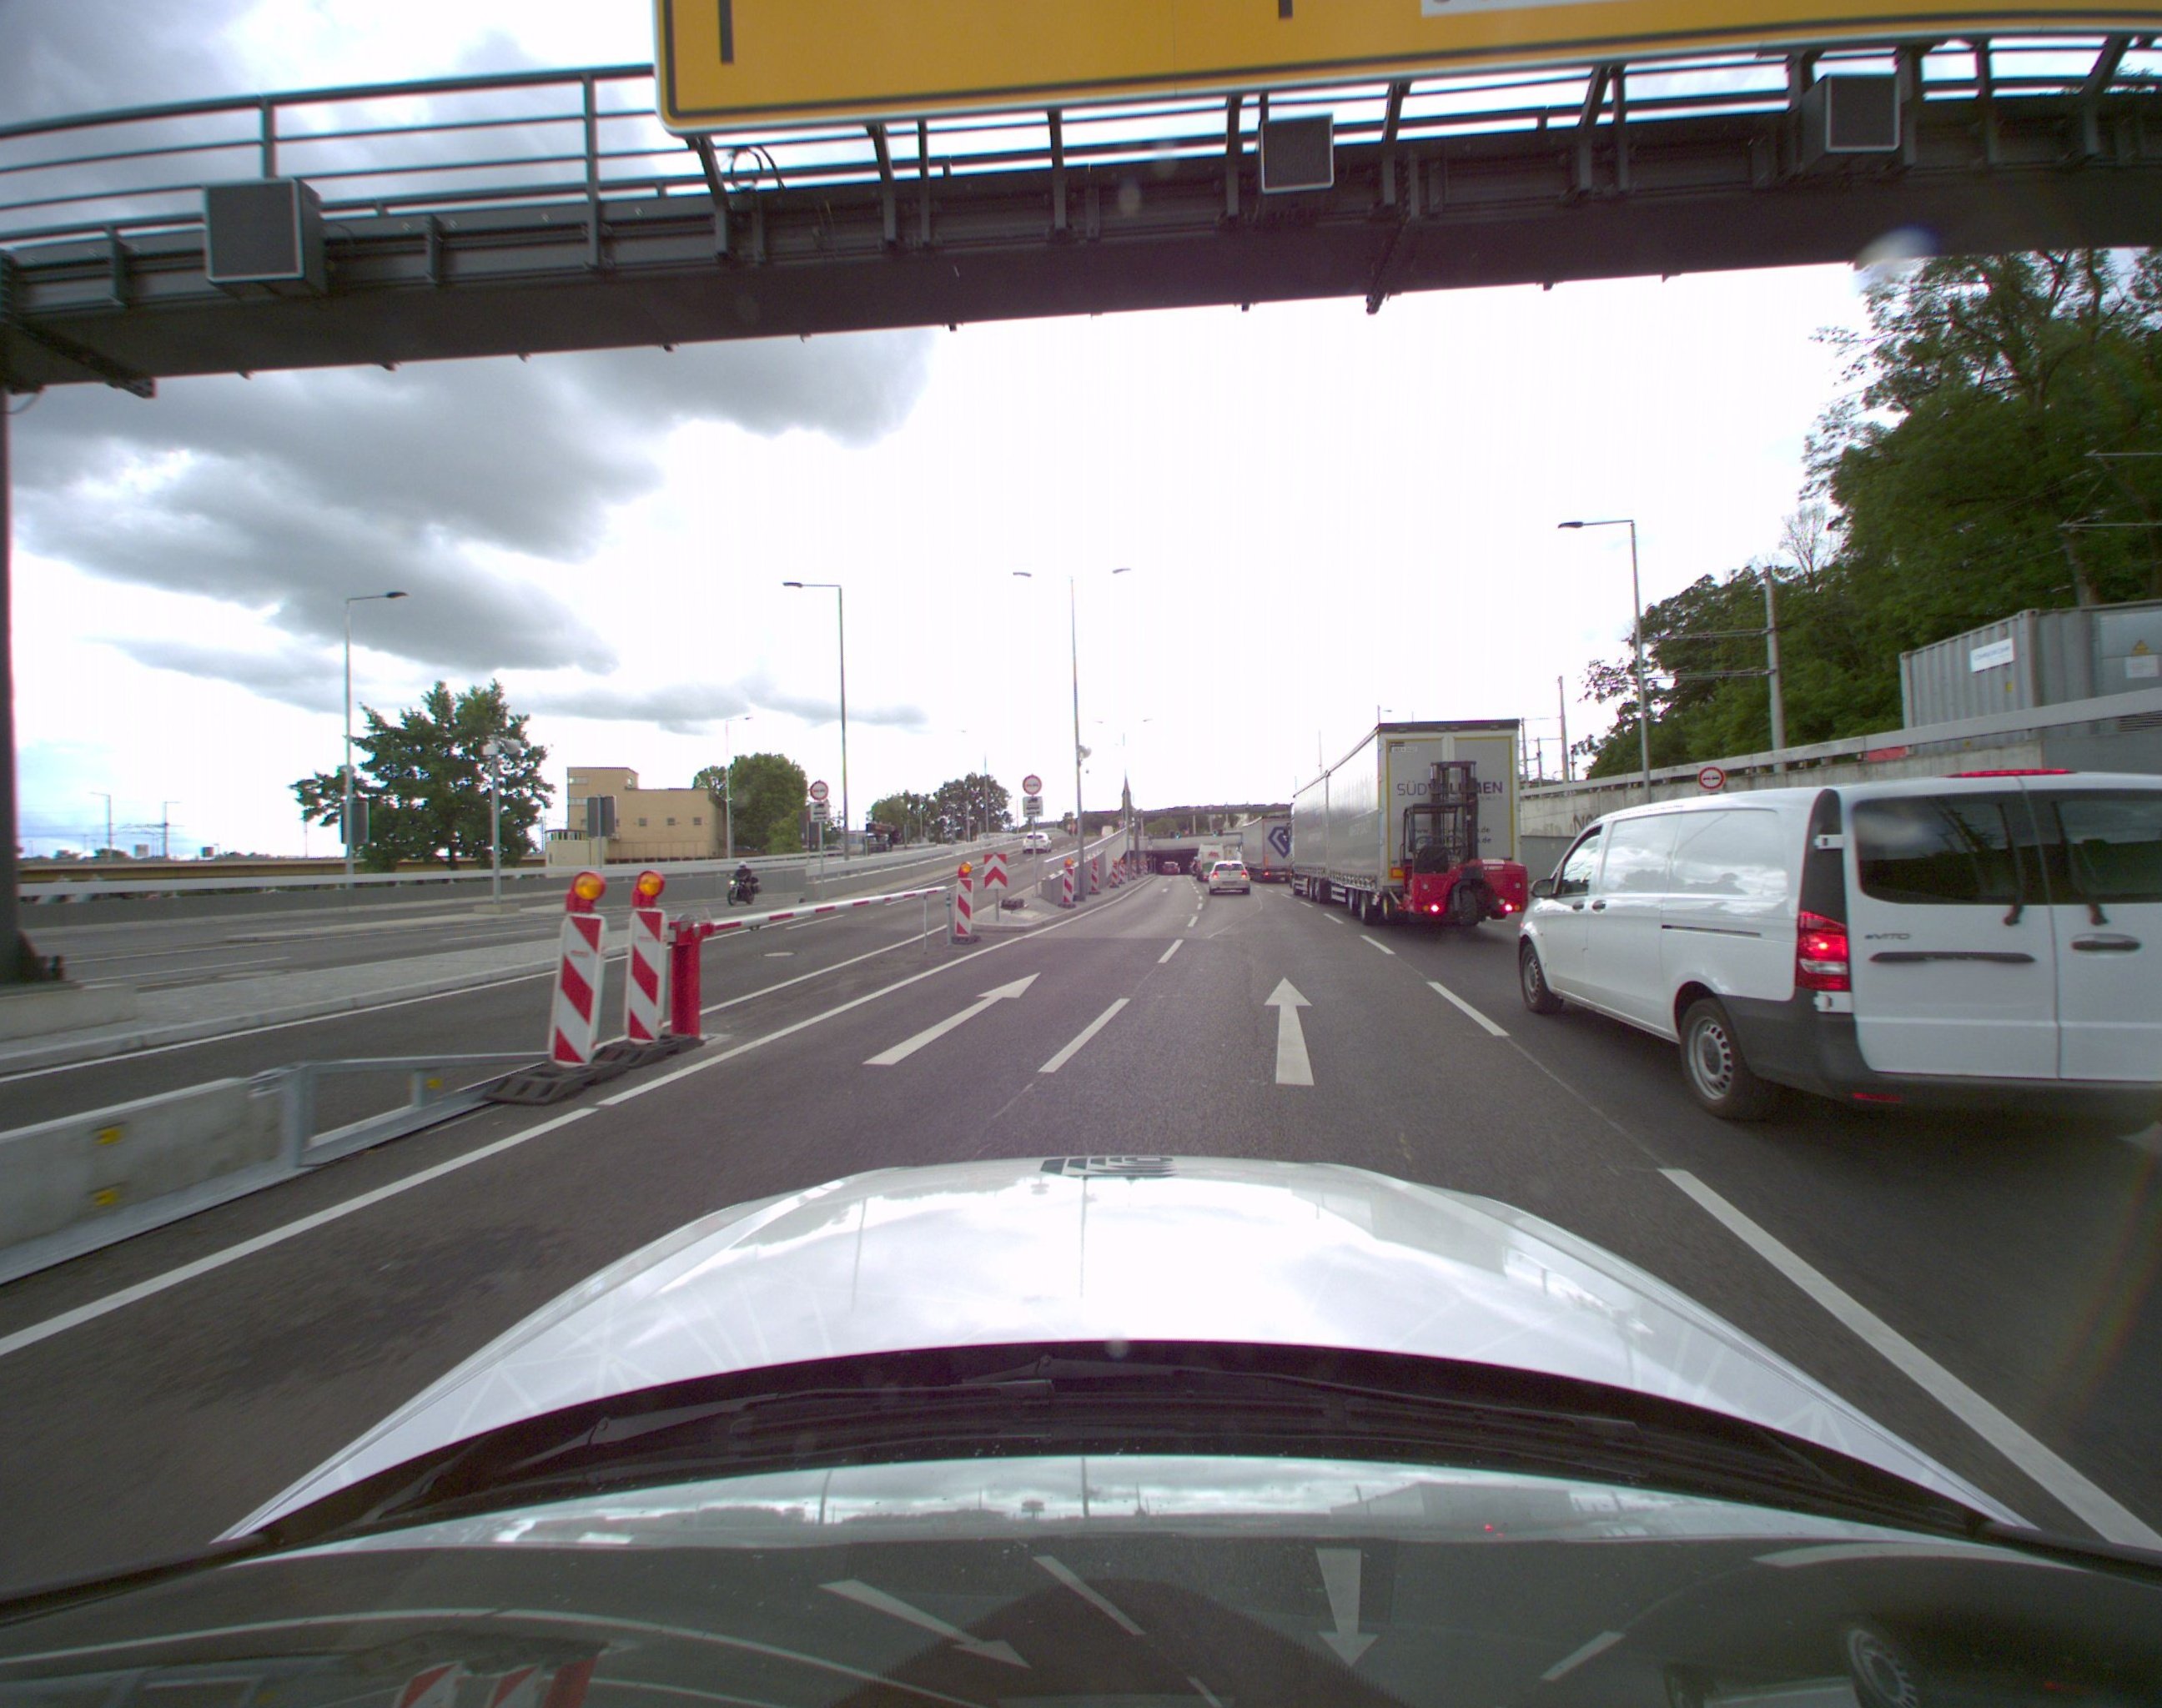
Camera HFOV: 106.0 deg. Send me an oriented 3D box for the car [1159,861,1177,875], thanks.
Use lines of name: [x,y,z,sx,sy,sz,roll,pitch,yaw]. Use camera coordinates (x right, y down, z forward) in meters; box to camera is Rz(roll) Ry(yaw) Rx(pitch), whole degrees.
car: [10.118,1.626,94.872,1.654,1.488,3.566,-2,-2,0]

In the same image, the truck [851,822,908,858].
truck: [-21.223,-1.586,86.546,2.722,3.389,10.627,-6,2,2]

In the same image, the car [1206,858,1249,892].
car: [6.396,0.885,35.888,1.707,1.398,4.356,0,-1,8]

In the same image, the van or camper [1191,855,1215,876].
van or camper: [11.842,1.170,79.358,1.983,1.845,5.516,-1,-3,6]

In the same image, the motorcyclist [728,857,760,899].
motorcyclist: [-13.295,0.943,32.150,0.661,1.606,1.106,-1,-1,10]

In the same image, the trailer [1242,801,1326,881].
trailer: [13.105,-0.708,53.861,3.785,4.631,12.135,0,-1,6]

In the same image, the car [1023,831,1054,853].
car: [-2.982,-0.839,58.010,1.736,1.433,3.779,2,-1,4]

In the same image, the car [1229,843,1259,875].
car: [14.884,0.513,74.521,2.064,2.773,7.339,0,-1,6]

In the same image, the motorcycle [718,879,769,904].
motorcycle: [-13.291,1.458,32.123,0.661,0.917,2.401,-1,-1,10]

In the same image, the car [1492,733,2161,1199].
car: [4.866,0.505,6.092,1.980,1.990,5.217,-1,-1,13]

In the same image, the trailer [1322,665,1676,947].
trailer: [7.825,-0.640,17.673,3.701,4.142,11.013,-1,-1,10]

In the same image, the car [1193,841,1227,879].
car: [9.466,0.483,60.058,2.048,2.628,5.950,2,-1,5]

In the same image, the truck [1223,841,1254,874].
truck: [16.134,0.421,83.868,2.635,3.185,7.440,-2,-2,7]

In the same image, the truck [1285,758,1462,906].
truck: [9.617,-0.553,28.495,3.703,4.142,11.008,-1,-1,8]

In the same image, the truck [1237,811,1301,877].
truck: [13.899,-0.646,60.834,3.785,4.631,7.455,0,-1,6]

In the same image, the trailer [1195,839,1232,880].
trailer: [9.091,0.405,56.225,2.093,2.639,4.816,2,-1,5]

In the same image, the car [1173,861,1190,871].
car: [13.425,1.621,109.446,1.985,1.387,4.003,0,-1,3]
